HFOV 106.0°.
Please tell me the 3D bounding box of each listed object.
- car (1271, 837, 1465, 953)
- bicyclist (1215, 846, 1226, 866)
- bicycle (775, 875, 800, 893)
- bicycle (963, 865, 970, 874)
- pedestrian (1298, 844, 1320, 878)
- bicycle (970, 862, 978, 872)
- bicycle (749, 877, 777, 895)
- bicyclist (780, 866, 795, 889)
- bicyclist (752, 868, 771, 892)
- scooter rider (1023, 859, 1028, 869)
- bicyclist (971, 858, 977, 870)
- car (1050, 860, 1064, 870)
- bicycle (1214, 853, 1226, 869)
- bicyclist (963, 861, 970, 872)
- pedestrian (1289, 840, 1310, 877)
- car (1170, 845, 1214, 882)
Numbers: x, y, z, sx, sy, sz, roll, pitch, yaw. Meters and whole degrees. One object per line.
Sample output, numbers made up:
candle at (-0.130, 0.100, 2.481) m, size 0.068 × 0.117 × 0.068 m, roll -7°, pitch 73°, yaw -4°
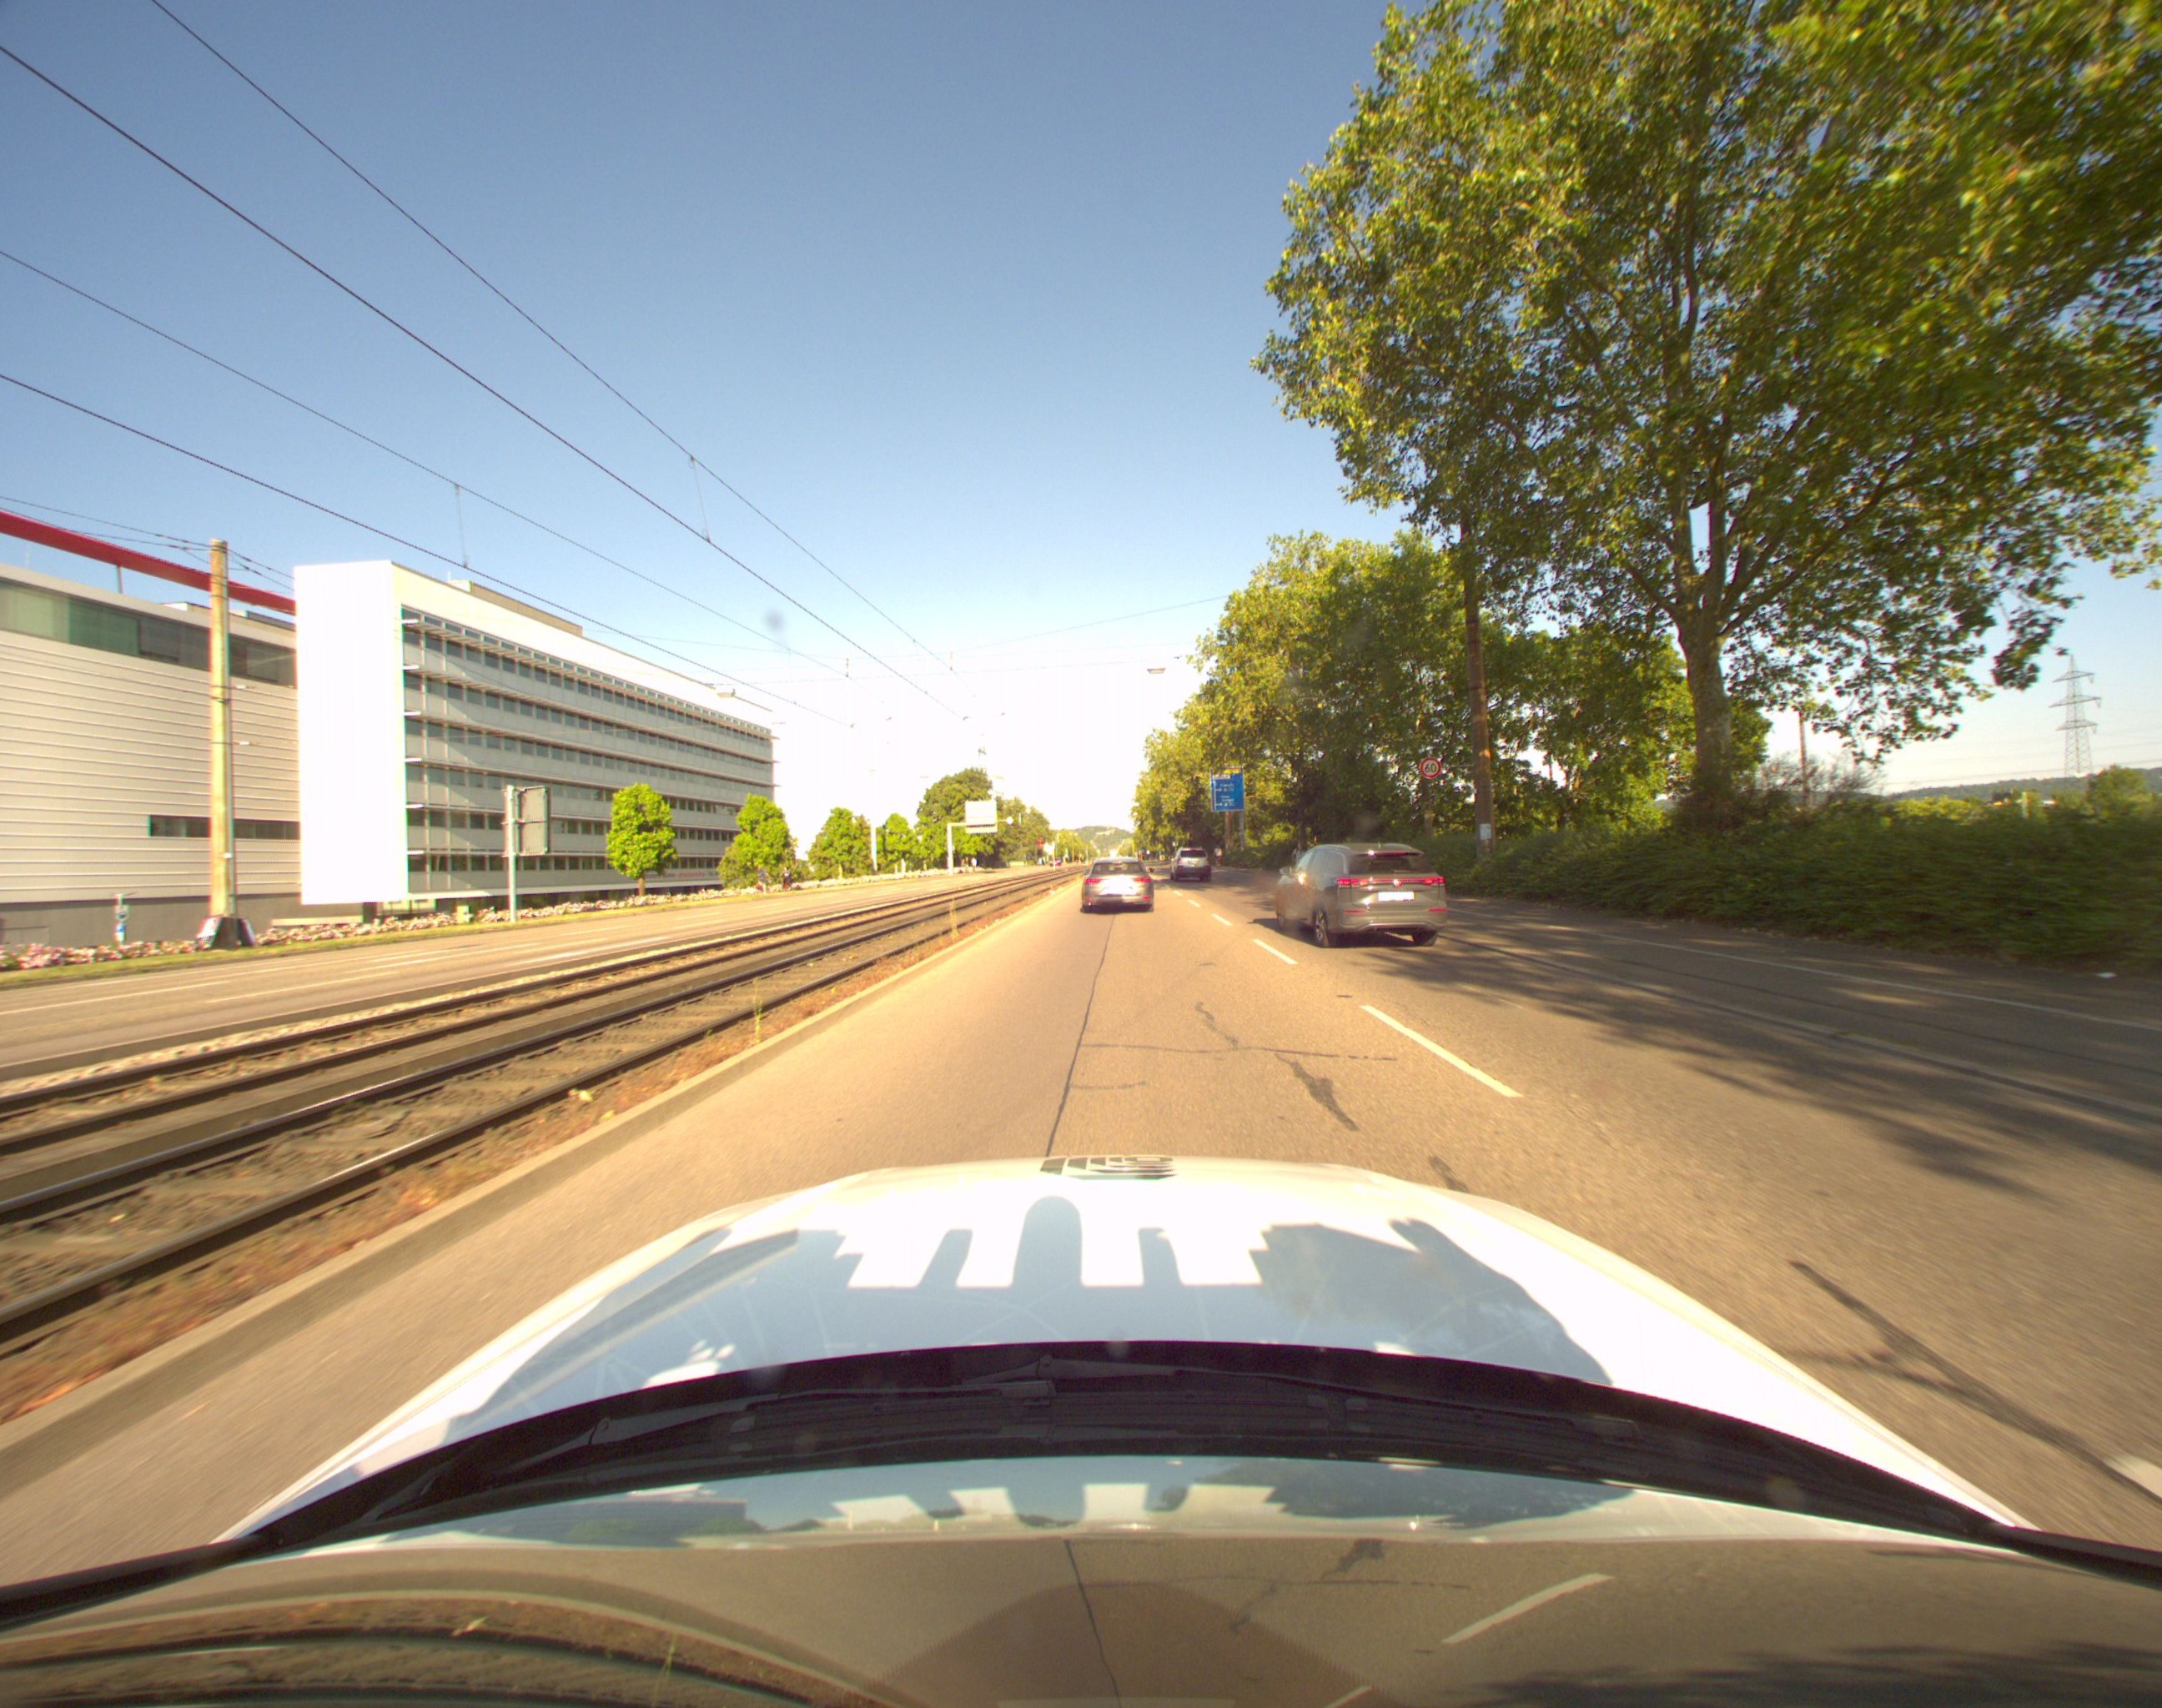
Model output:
car at (4.681, 0.580, 14.033) m, size 1.838 × 1.661 × 4.440 m, roll -1°, pitch 0°, yaw 1°
bicyclist at (10.247, 0.144, 59.918) m, size 0.683 × 1.509 × 0.891 m, roll -2°, pitch 0°, yaw 3°
bicycle at (-20.912, 2.121, 58.096) m, size 0.656 × 1.150 × 2.029 m, roll 0°, pitch 0°, yaw 13°
bicycle at (-14.443, 1.980, 102.786) m, size 0.622 × 1.058 × 1.705 m, roll 0°, pitch 0°, yaw 3°
pedestrian at (10.274, 0.327, 36.666) m, size 0.720 × 1.480 × 0.722 m, roll -3°, pitch 0°, yaw 2°
bicycle at (-14.208, 1.704, 108.246) m, size 0.599 × 1.219 × 1.751 m, roll 0°, pitch 0°, yaw 6°
bicycle at (-20.058, 2.011, 51.375) m, size 0.700 × 1.073 × 2.033 m, roll 0°, pitch 0°, yaw 10°
bicyclist at (-20.925, 1.687, 58.040) m, size 0.656 × 1.623 × 0.804 m, roll 0°, pitch 0°, yaw 12°
bicyclist at (-20.090, 1.625, 51.221) m, size 0.700 × 1.512 × 0.973 m, roll 0°, pitch 0°, yaw 10°
scooter rider at (-10.802, 1.970, 157.949) m, size 0.678 × 1.848 × 1.004 m, roll -3°, pitch -1°, yaw 10°
bicyclist at (-14.210, 1.312, 108.217) m, size 0.599 × 1.659 × 0.965 m, roll 0°, pitch 0°, yaw 6°
car at (-4.312, 1.973, 146.760) m, size 2.031 × 1.503 × 4.892 m, roll -2°, pitch 0°, yaw 4°
bicycle at (10.259, 0.538, 60.020) m, size 0.619 × 1.120 × 1.814 m, roll -3°, pitch 0°, yaw 3°
bicyclist at (-14.433, 1.618, 102.789) m, size 0.622 × 1.374 × 0.881 m, roll 0°, pitch 0°, yaw 3°
pedestrian at (10.258, 0.200, 38.311) m, size 0.719 × 1.707 × 0.813 m, roll -3°, pitch 0°, yaw 2°
car at (5.646, 0.452, 41.930) m, size 1.876 × 1.795 × 4.003 m, roll 0°, pitch 0°, yaw 2°
